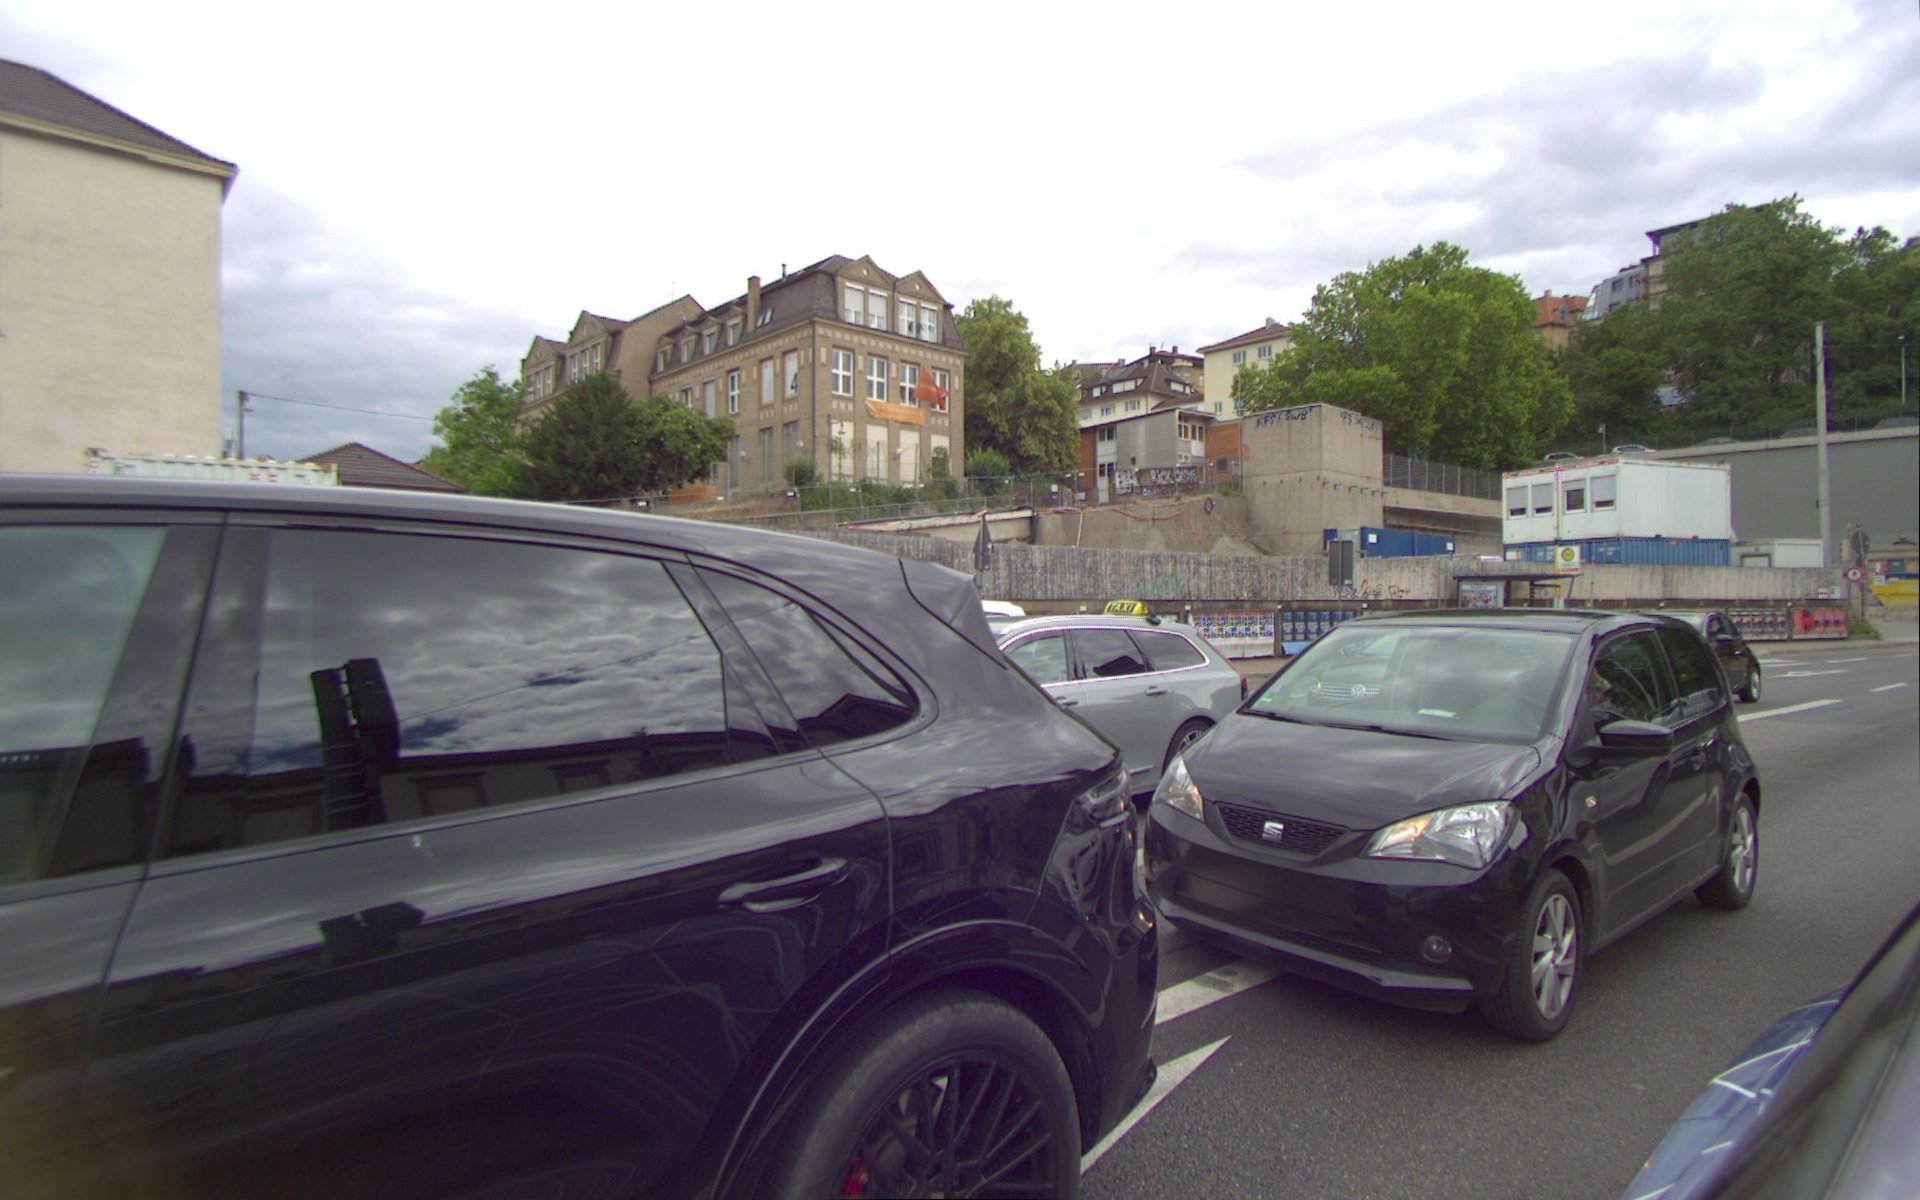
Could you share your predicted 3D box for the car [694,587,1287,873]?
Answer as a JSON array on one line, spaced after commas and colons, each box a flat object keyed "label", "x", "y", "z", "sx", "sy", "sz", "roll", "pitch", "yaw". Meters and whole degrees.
[{"label": "car", "x": 0.403, "y": 0.660, "z": 7.337, "sx": 4.142, "sy": 1.484, "sz": 1.825, "roll": -1, "pitch": 0, "yaw": -40}]

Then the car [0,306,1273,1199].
[{"label": "car", "x": -1.654, "y": 0.558, "z": 1.664, "sx": 4.497, "sy": 1.689, "sz": 1.998, "roll": -1, "pitch": 0, "yaw": -39}]

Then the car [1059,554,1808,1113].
[{"label": "car", "x": 2.415, "y": 0.634, "z": 4.716, "sx": 3.841, "sy": 1.575, "sz": 1.661, "roll": -1, "pitch": 0, "yaw": -39}]

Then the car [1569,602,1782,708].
[{"label": "car", "x": 11.360, "y": 0.798, "z": 16.004, "sx": 3.711, "sy": 1.478, "sz": 1.721, "roll": 1, "pitch": -2, "yaw": -38}]

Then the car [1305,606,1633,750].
[{"label": "car", "x": 6.026, "y": 0.772, "z": 11.803, "sx": 4.139, "sy": 1.381, "sz": 1.827, "roll": 1, "pitch": 0, "yaw": -38}]

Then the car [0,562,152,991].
[{"label": "car", "x": -5.059, "y": 0.638, "z": 3.454, "sx": 3.581, "sy": 1.529, "sz": 1.826, "roll": -1, "pitch": 0, "yaw": -39}]

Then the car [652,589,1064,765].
[{"label": "car", "x": -0.936, "y": 0.635, "z": 10.601, "sx": 4.004, "sy": 1.484, "sz": 1.824, "roll": -1, "pitch": 0, "yaw": -42}]
